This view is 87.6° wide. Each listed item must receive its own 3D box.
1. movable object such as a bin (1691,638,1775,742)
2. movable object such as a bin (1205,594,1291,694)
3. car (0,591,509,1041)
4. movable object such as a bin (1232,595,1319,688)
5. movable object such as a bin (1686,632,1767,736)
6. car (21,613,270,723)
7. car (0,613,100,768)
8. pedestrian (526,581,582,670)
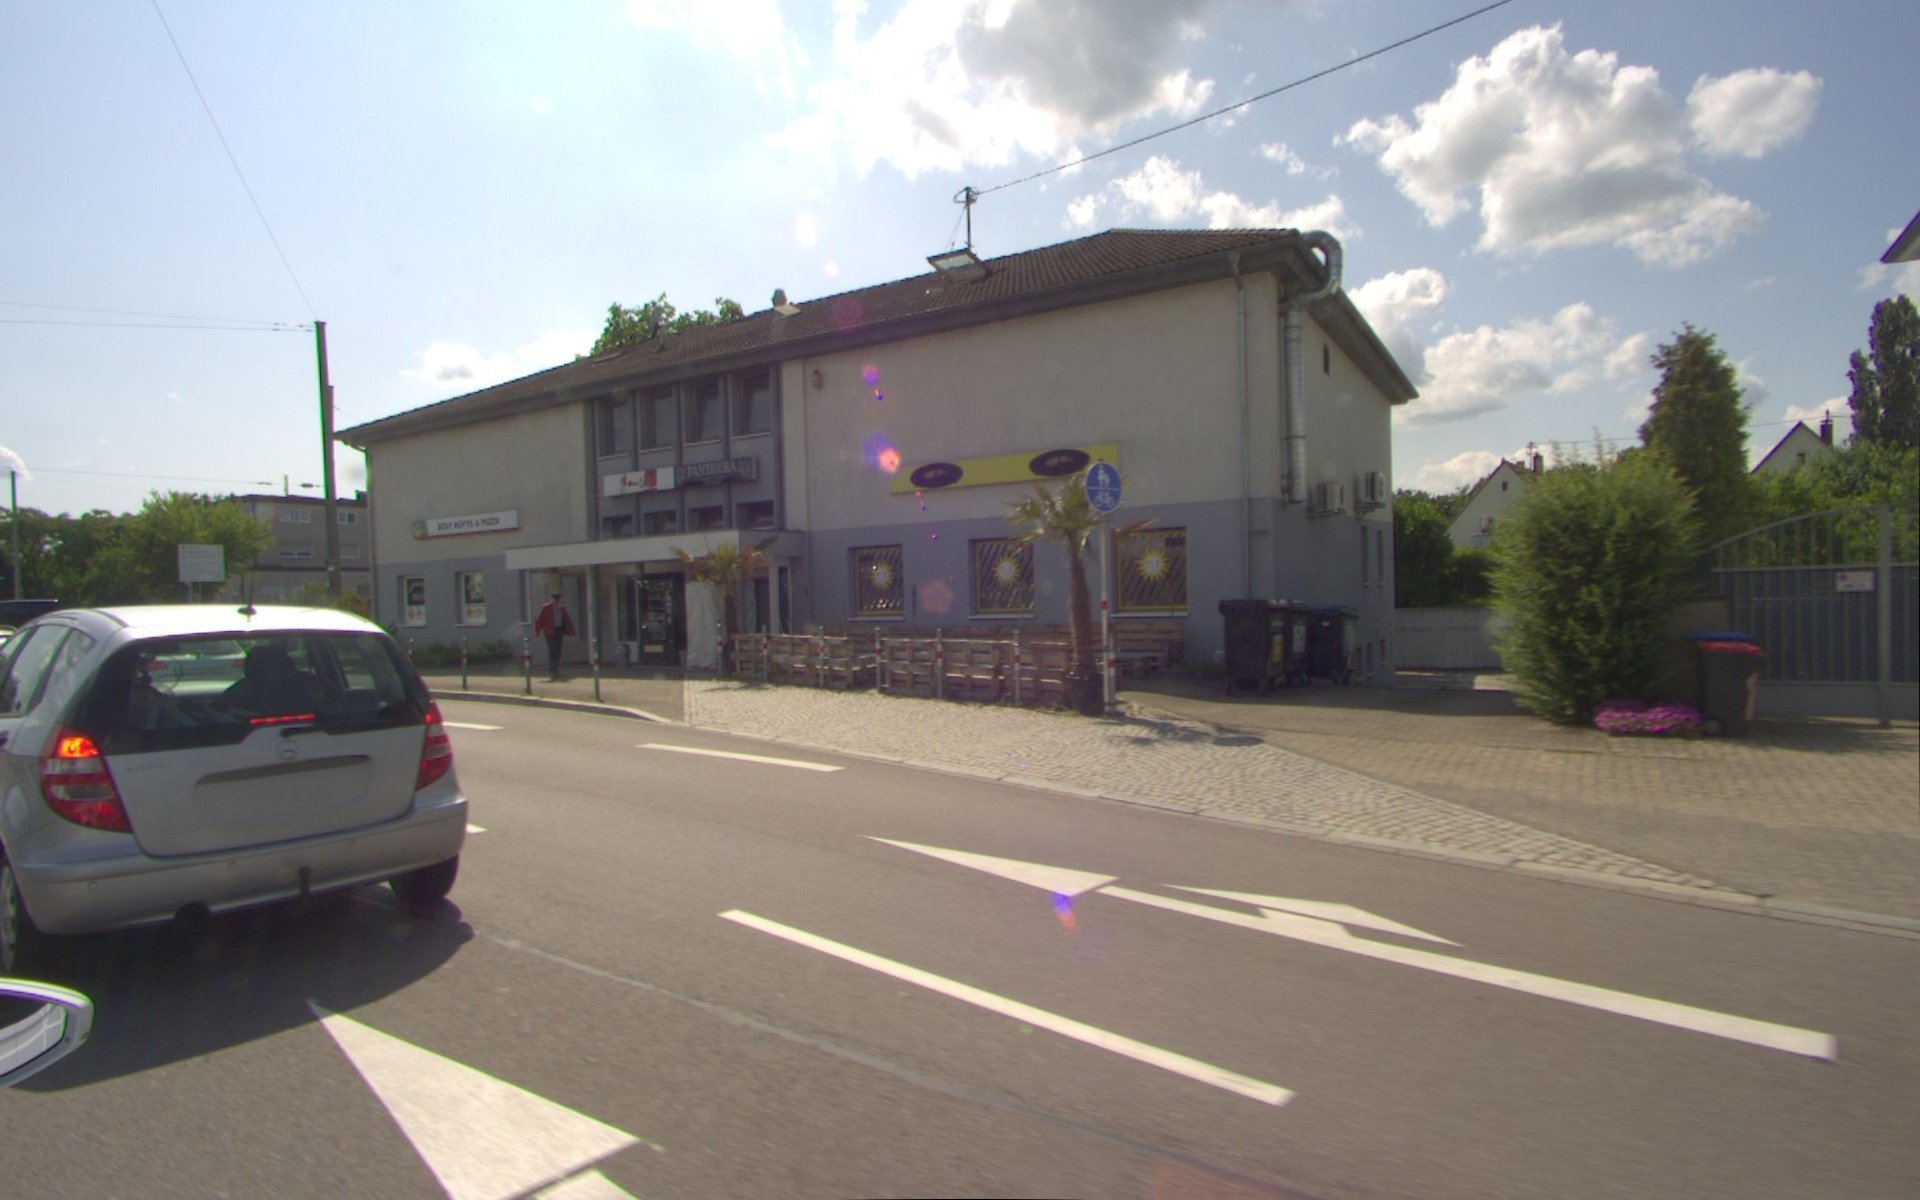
[{"bbox_3d":[7.131,0.813,9.255,0.537,0.907,0.444,0,2,28],"label":"movable object such as a bin"},{"bbox_3d":[4.162,0.601,14.440,0.874,1.351,1.079,2,3,34],"label":"movable object such as a bin"},{"bbox_3d":[-4.353,0.781,5.537,4.045,1.598,1.779,-1,1,39],"label":"car"},{"bbox_3d":[4.922,0.614,15.595,0.876,1.351,1.198,3,3,41],"label":"movable object such as a bin"},{"bbox_3d":[7.398,0.798,9.681,0.541,0.947,0.440,0,2,28],"label":"movable object such as a bin"},{"bbox_3d":[-13.035,0.975,15.964,4.473,1.512,1.850,-1,0,34],"label":"car"},{"bbox_3d":[-11.350,0.916,10.999,4.565,1.512,1.734,-1,0,34],"label":"car"},{"bbox_3d":[-8.493,0.522,20.949,0.693,1.808,0.719,0,4,35],"label":"pedestrian"}]
